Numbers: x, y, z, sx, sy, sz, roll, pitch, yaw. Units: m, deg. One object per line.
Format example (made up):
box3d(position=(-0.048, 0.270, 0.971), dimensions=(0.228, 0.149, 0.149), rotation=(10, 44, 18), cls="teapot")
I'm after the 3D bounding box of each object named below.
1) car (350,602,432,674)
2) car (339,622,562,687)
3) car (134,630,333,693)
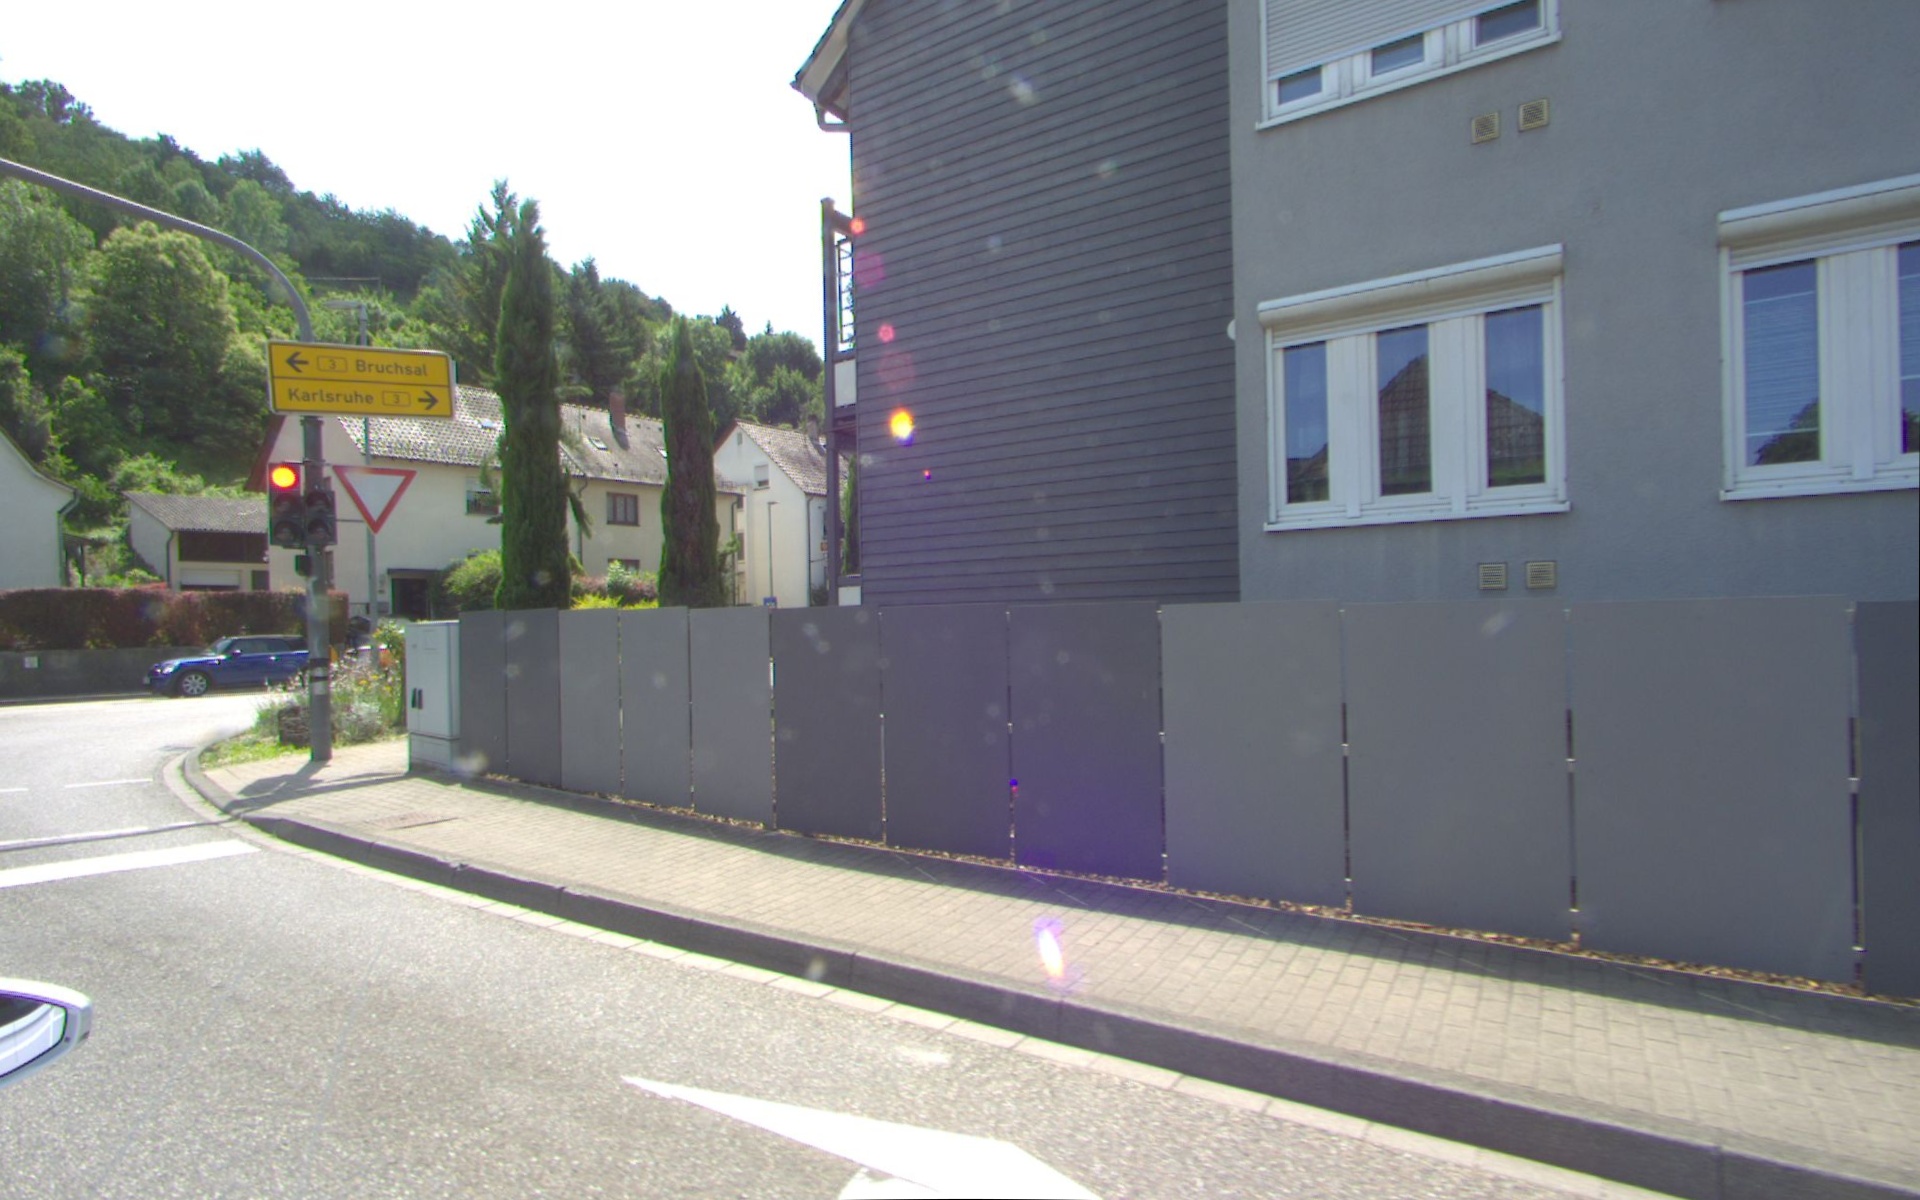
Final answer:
box3d(position=(-18.313, 1.159, 32.161), dimensions=(1.780, 1.410, 3.650), rotation=(0, 13, -38), cls="car")
box3d(position=(-12.659, 1.327, 25.137), dimensions=(1.905, 1.445, 4.645), rotation=(-4, -3, 38), cls="car")
box3d(position=(-17.522, 1.468, 24.285), dimensions=(1.624, 1.379, 3.598), rotation=(-4, -4, 36), cls="car")
